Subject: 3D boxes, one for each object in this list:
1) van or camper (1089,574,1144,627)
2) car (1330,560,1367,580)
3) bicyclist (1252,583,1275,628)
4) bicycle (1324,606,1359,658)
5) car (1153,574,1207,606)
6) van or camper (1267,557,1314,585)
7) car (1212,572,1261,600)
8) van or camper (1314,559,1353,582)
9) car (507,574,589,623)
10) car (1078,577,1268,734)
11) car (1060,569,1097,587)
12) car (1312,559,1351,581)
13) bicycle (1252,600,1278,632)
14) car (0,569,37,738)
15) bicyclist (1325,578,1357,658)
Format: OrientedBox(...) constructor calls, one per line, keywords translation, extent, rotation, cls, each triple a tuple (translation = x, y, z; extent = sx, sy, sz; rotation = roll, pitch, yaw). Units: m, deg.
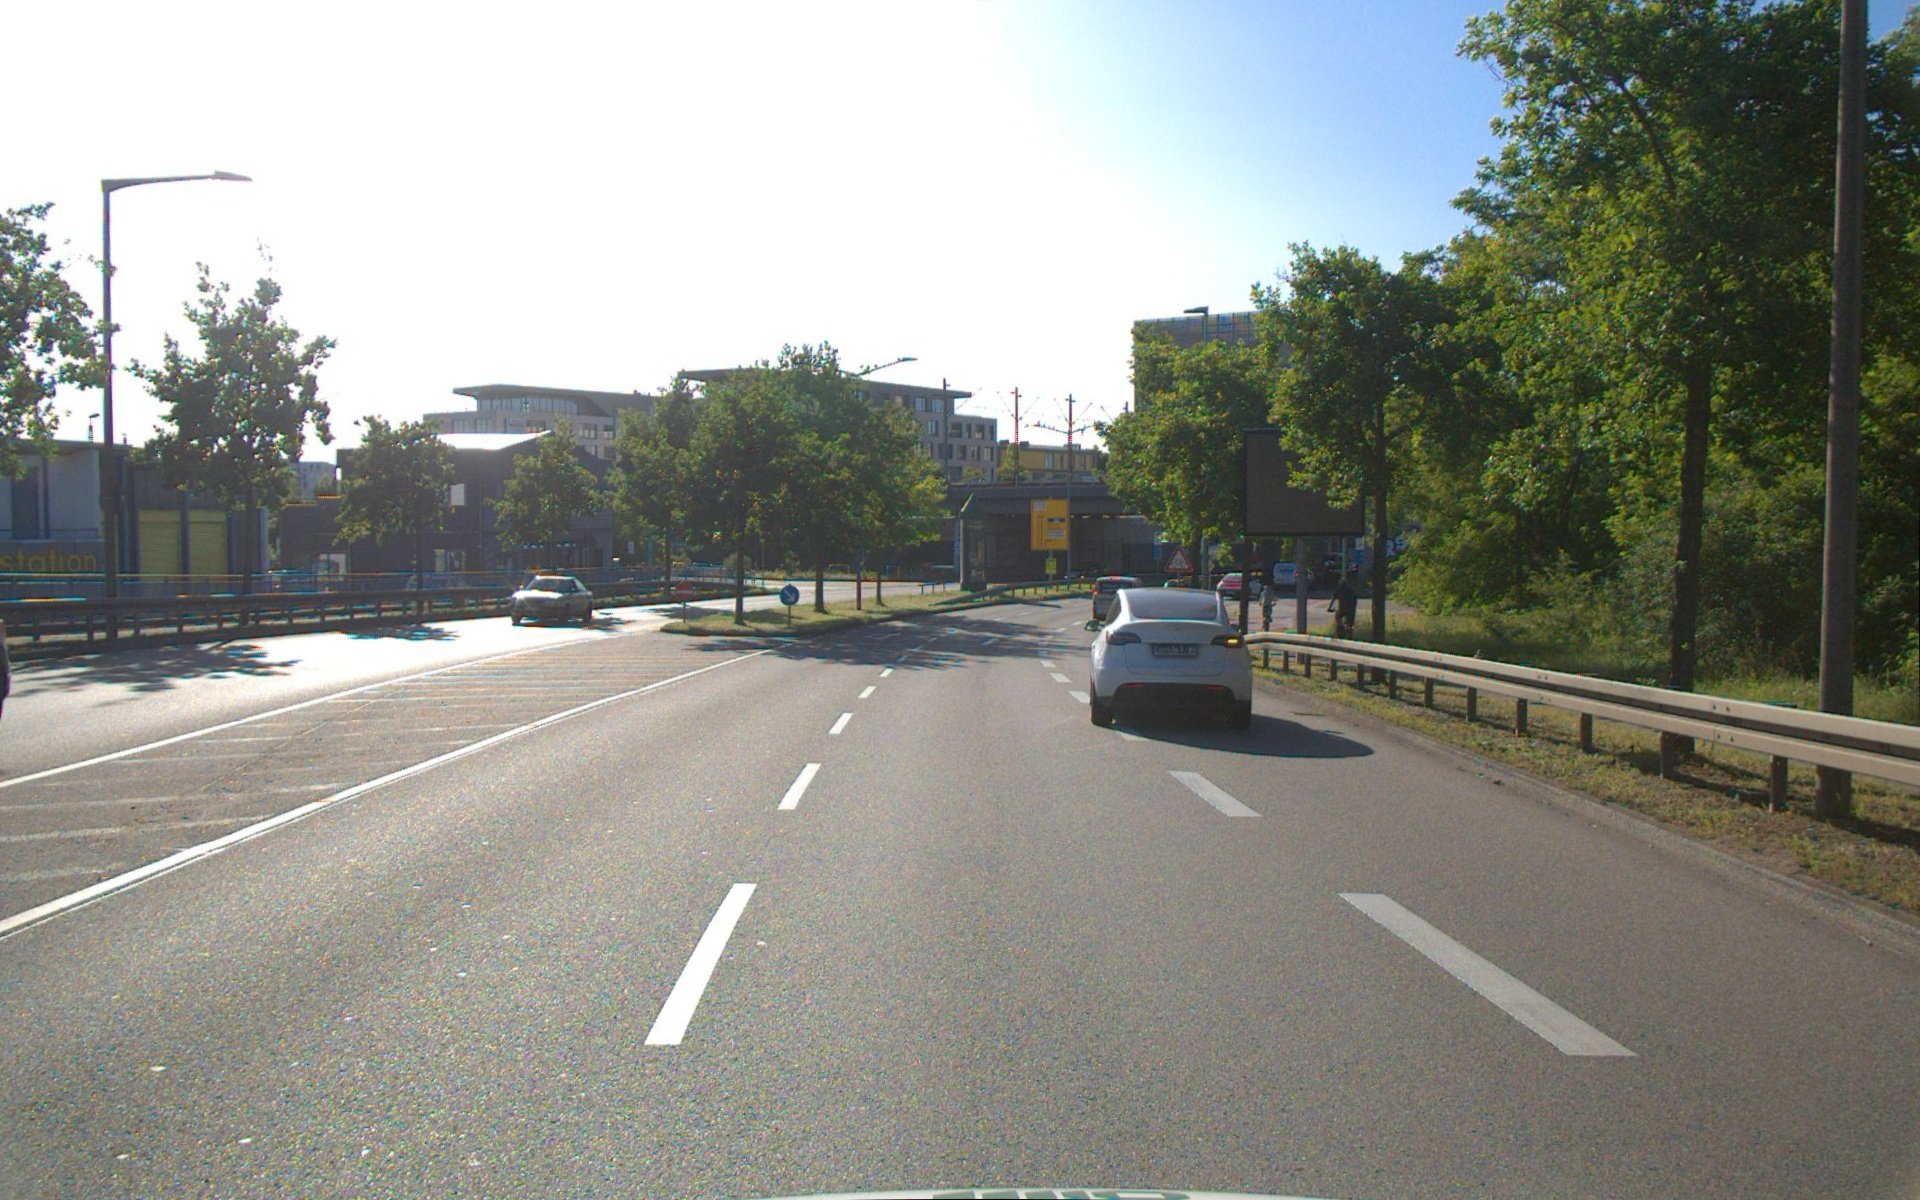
OrientedBox(translation=(6.400, -0.022, 67.125), extent=(1.916, 1.916, 4.885), rotation=(1, 2, 9), cls="van or camper")
OrientedBox(translation=(30.598, -2.377, 130.268), extent=(1.678, 1.549, 3.733), rotation=(2, 3, 33), cls="car")
OrientedBox(translation=(11.494, 0.202, 62.533), extent=(0.730, 1.647, 0.913), rotation=(-1, 1, 16), cls="bicyclist")
OrientedBox(translation=(8.786, 0.725, 38.152), extent=(0.680, 1.114, 2.120), rotation=(-1, 1, 11), cls="bicycle")
OrientedBox(translation=(11.374, -0.542, 85.422), extent=(1.574, 1.459, 3.674), rotation=(3, 3, 28), cls="car")
OrientedBox(translation=(22.135, -1.960, 110.572), extent=(1.791, 1.822, 4.538), rotation=(2, 3, 29), cls="van or camper")
OrientedBox(translation=(16.241, -0.849, 97.035), extent=(1.728, 1.501, 4.286), rotation=(1, 2, 25), cls="car")
OrientedBox(translation=(30.838, -2.442, 136.560), extent=(1.724, 1.845, 3.945), rotation=(2, 3, 35), cls="van or camper")
OrientedBox(translation=(-12.660, -0.078, 51.061), extent=(1.696, 1.409, 4.493), rotation=(1, 1, -4), cls="car")
OrientedBox(translation=(2.522, 0.608, 20.603), extent=(1.874, 1.669, 4.411), rotation=(2, 0, 2), cls="car")
OrientedBox(translation=(9.152, -1.676, 127.650), extent=(1.762, 1.333, 4.618), rotation=(2, 1, 18), cls="car")
OrientedBox(translation=(28.015, -2.248, 124.567), extent=(1.678, 1.549, 3.733), rotation=(2, 3, 33), cls="car")
OrientedBox(translation=(11.557, 0.591, 62.626), extent=(0.727, 1.131, 2.453), rotation=(-1, 1, 16), cls="bicycle")
OrientedBox(translation=(-9.306, 0.477, 13.290), extent=(1.728, 1.515, 4.271), rotation=(1, 0, -6), cls="car")
OrientedBox(translation=(8.759, 0.406, 38.059), extent=(0.661, 1.807, 0.949), rotation=(-1, 1, 11), cls="bicyclist")
